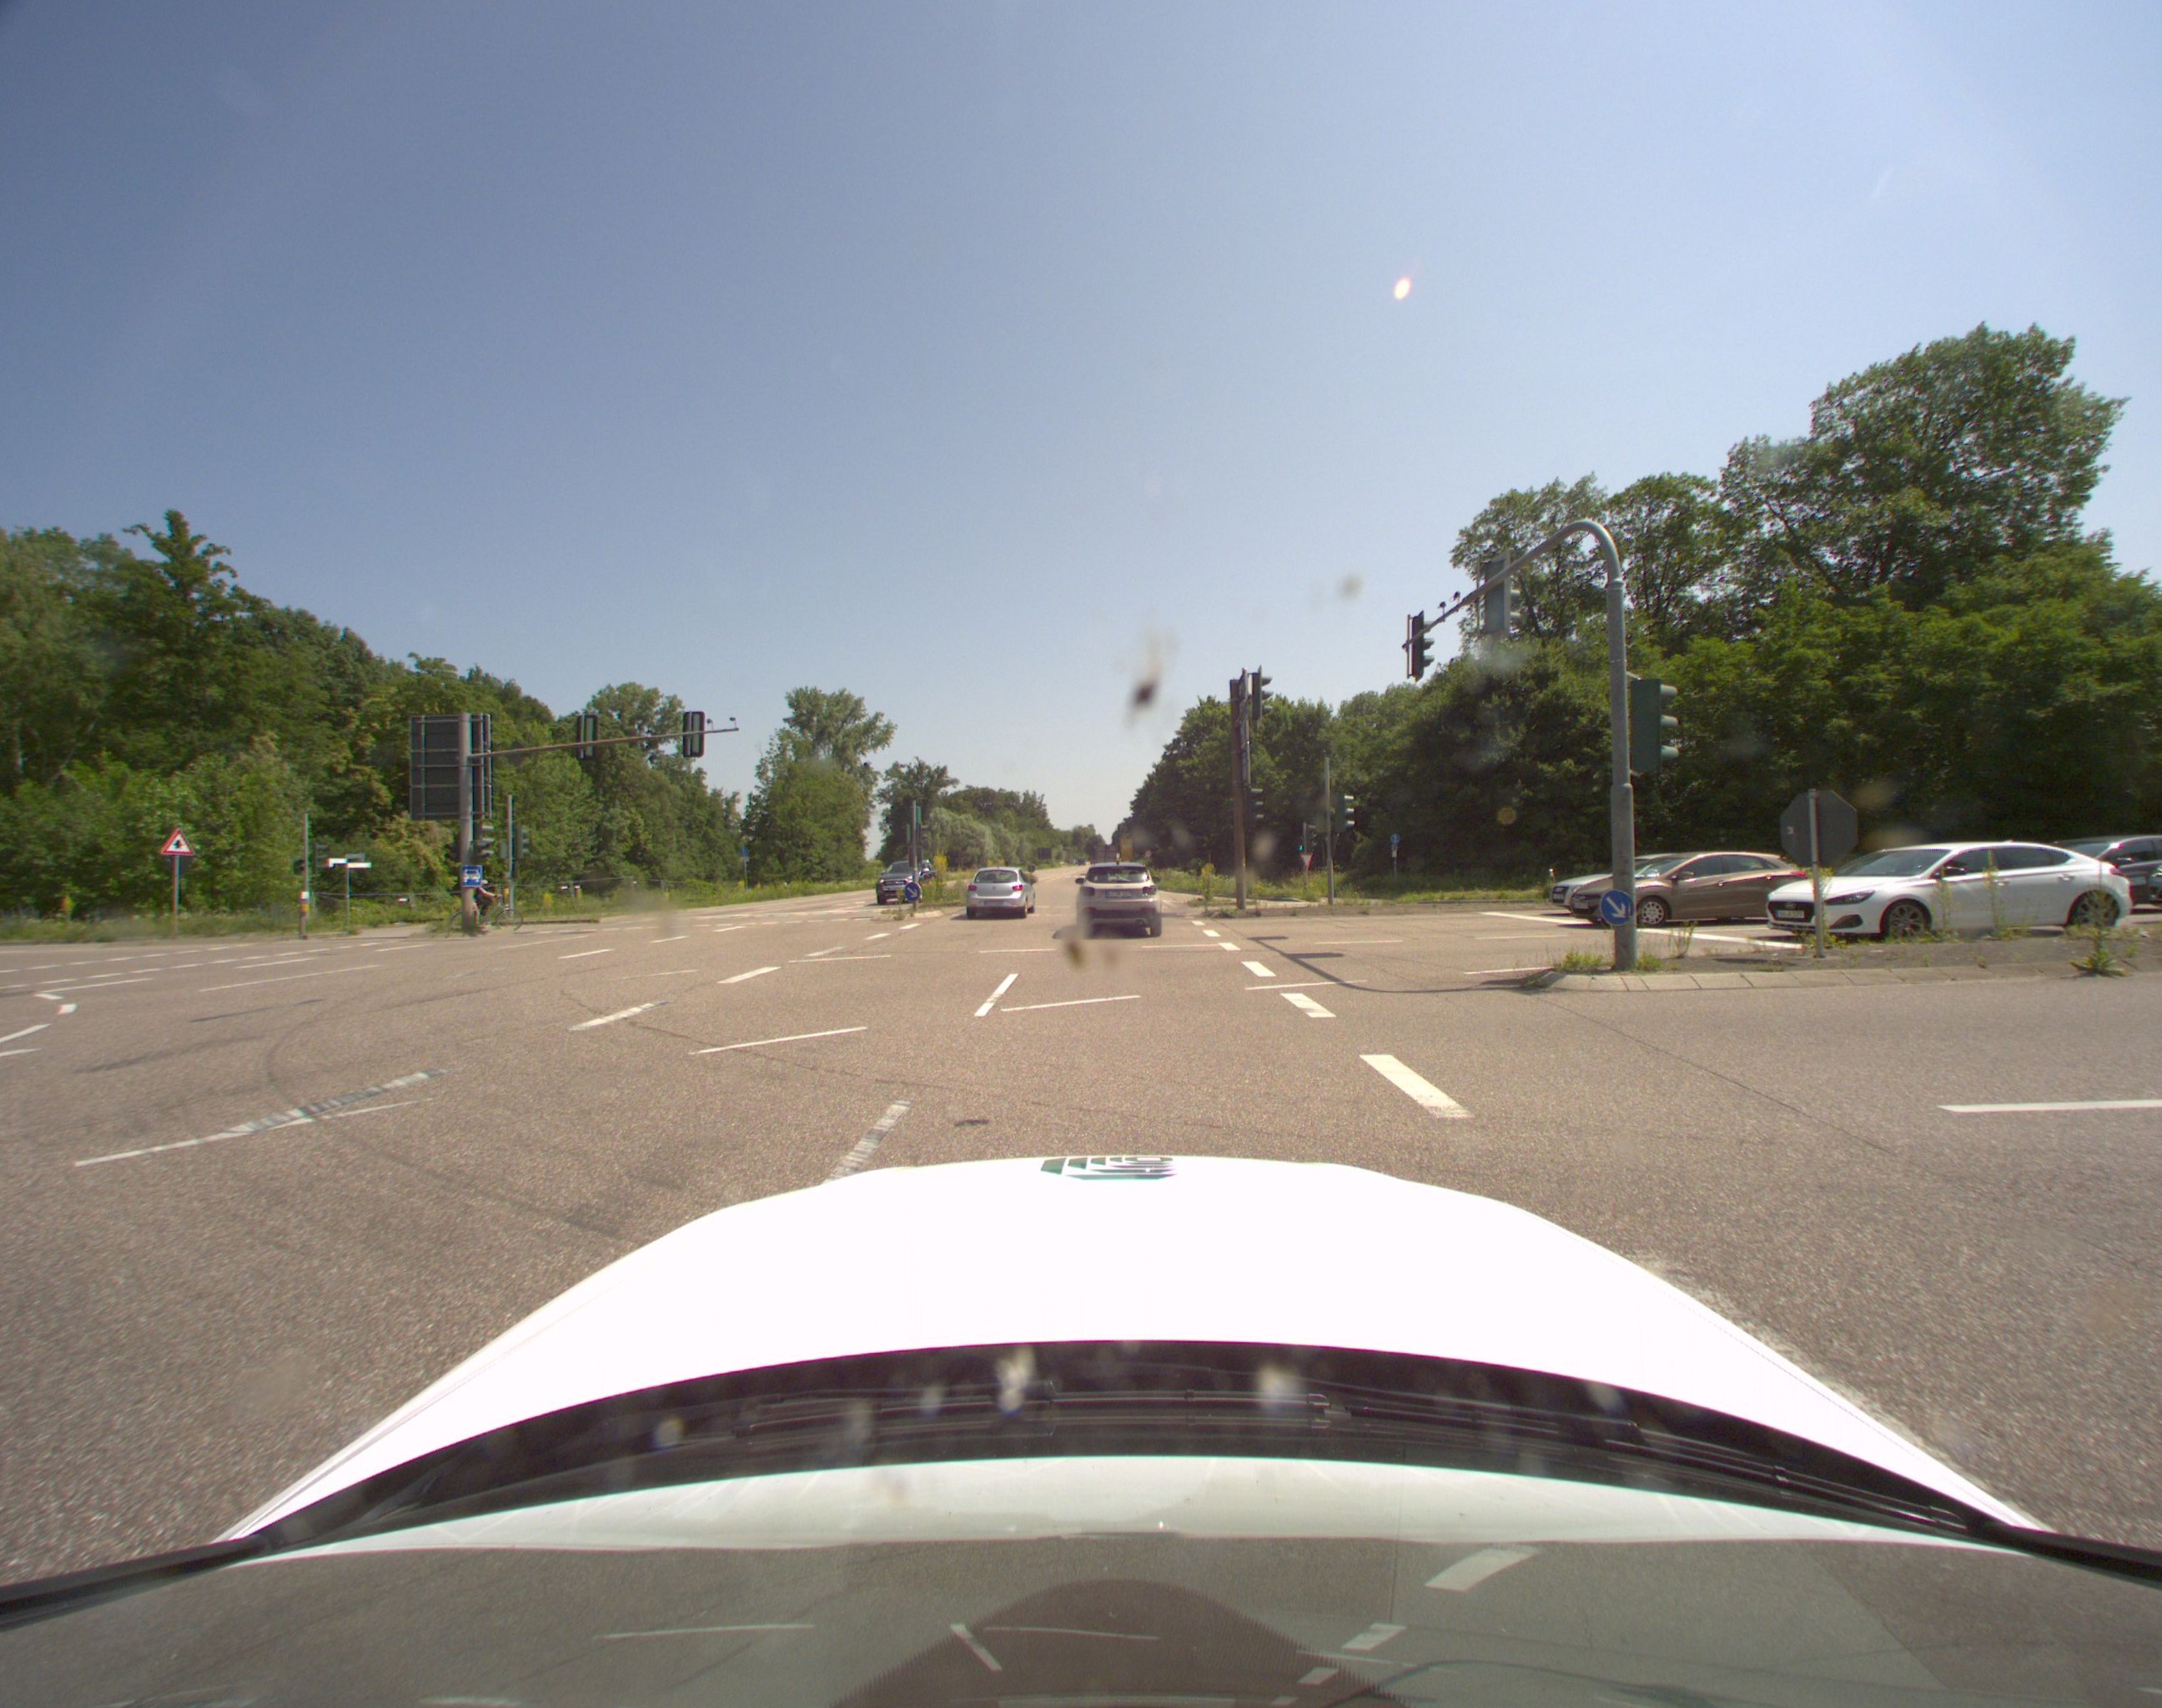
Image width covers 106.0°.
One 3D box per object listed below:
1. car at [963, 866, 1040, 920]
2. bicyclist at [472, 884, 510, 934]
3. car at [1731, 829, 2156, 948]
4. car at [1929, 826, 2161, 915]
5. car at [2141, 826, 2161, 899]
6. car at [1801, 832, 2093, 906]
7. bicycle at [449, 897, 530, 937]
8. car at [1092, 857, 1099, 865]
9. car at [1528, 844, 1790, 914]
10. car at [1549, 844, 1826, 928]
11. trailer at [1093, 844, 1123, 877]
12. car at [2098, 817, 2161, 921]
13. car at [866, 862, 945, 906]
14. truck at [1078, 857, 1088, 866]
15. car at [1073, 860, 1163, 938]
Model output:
[{"bbox_3d":[-2.232,1.068,23.775,1.659,1.430,3.831,0,-1,3],"label":"car"},{"bbox_3d":[-17.994,1.650,24.832,0.914,1.459,0.721,-3,-1,39],"label":"bicyclist"},{"bbox_3d":[13.064,0.502,12.583,4.404,1.535,2.000,-2,-1,0],"label":"car"},{"bbox_3d":[19.742,0.287,15.740,4.403,1.535,2.123,-2,-2,1],"label":"car"},{"bbox_3d":[25.256,0.057,16.298,5.109,1.534,2.139,-2,-2,2],"label":"car"},{"bbox_3d":[20.453,0.362,19.430,4.599,1.498,2.113,-2,-1,2],"label":"car"},{"bbox_3d":[-17.996,1.894,24.807,0.715,1.063,1.881,-3,-1,39],"label":"bicycle"},{"bbox_3d":[4.077,2.009,227.413,1.986,2.014,4.556,-2,0,2],"label":"car"},{"bbox_3d":[14.023,0.620,20.002,4.912,1.498,2.021,-2,-2,2],"label":"car"},{"bbox_3d":[12.096,0.618,16.465,4.079,1.447,1.995,-2,-1,0],"label":"car"},{"bbox_3d":[3.508,0.889,103.756,3.368,3.989,10.814,0,-1,4],"label":"trailer"},{"bbox_3d":[19.242,0.166,12.687,4.156,1.659,2.001,-2,-1,2],"label":"car"},{"bbox_3d":[-7.535,1.227,35.529,1.985,1.678,5.369,-3,-1,3],"label":"car"},{"bbox_3d":[0.709,2.238,243.209,2.444,2.656,6.495,-4,-1,3],"label":"truck"},{"bbox_3d":[0.843,0.913,18.217,1.760,1.535,4.003,-1,-1,3],"label":"car"}]
